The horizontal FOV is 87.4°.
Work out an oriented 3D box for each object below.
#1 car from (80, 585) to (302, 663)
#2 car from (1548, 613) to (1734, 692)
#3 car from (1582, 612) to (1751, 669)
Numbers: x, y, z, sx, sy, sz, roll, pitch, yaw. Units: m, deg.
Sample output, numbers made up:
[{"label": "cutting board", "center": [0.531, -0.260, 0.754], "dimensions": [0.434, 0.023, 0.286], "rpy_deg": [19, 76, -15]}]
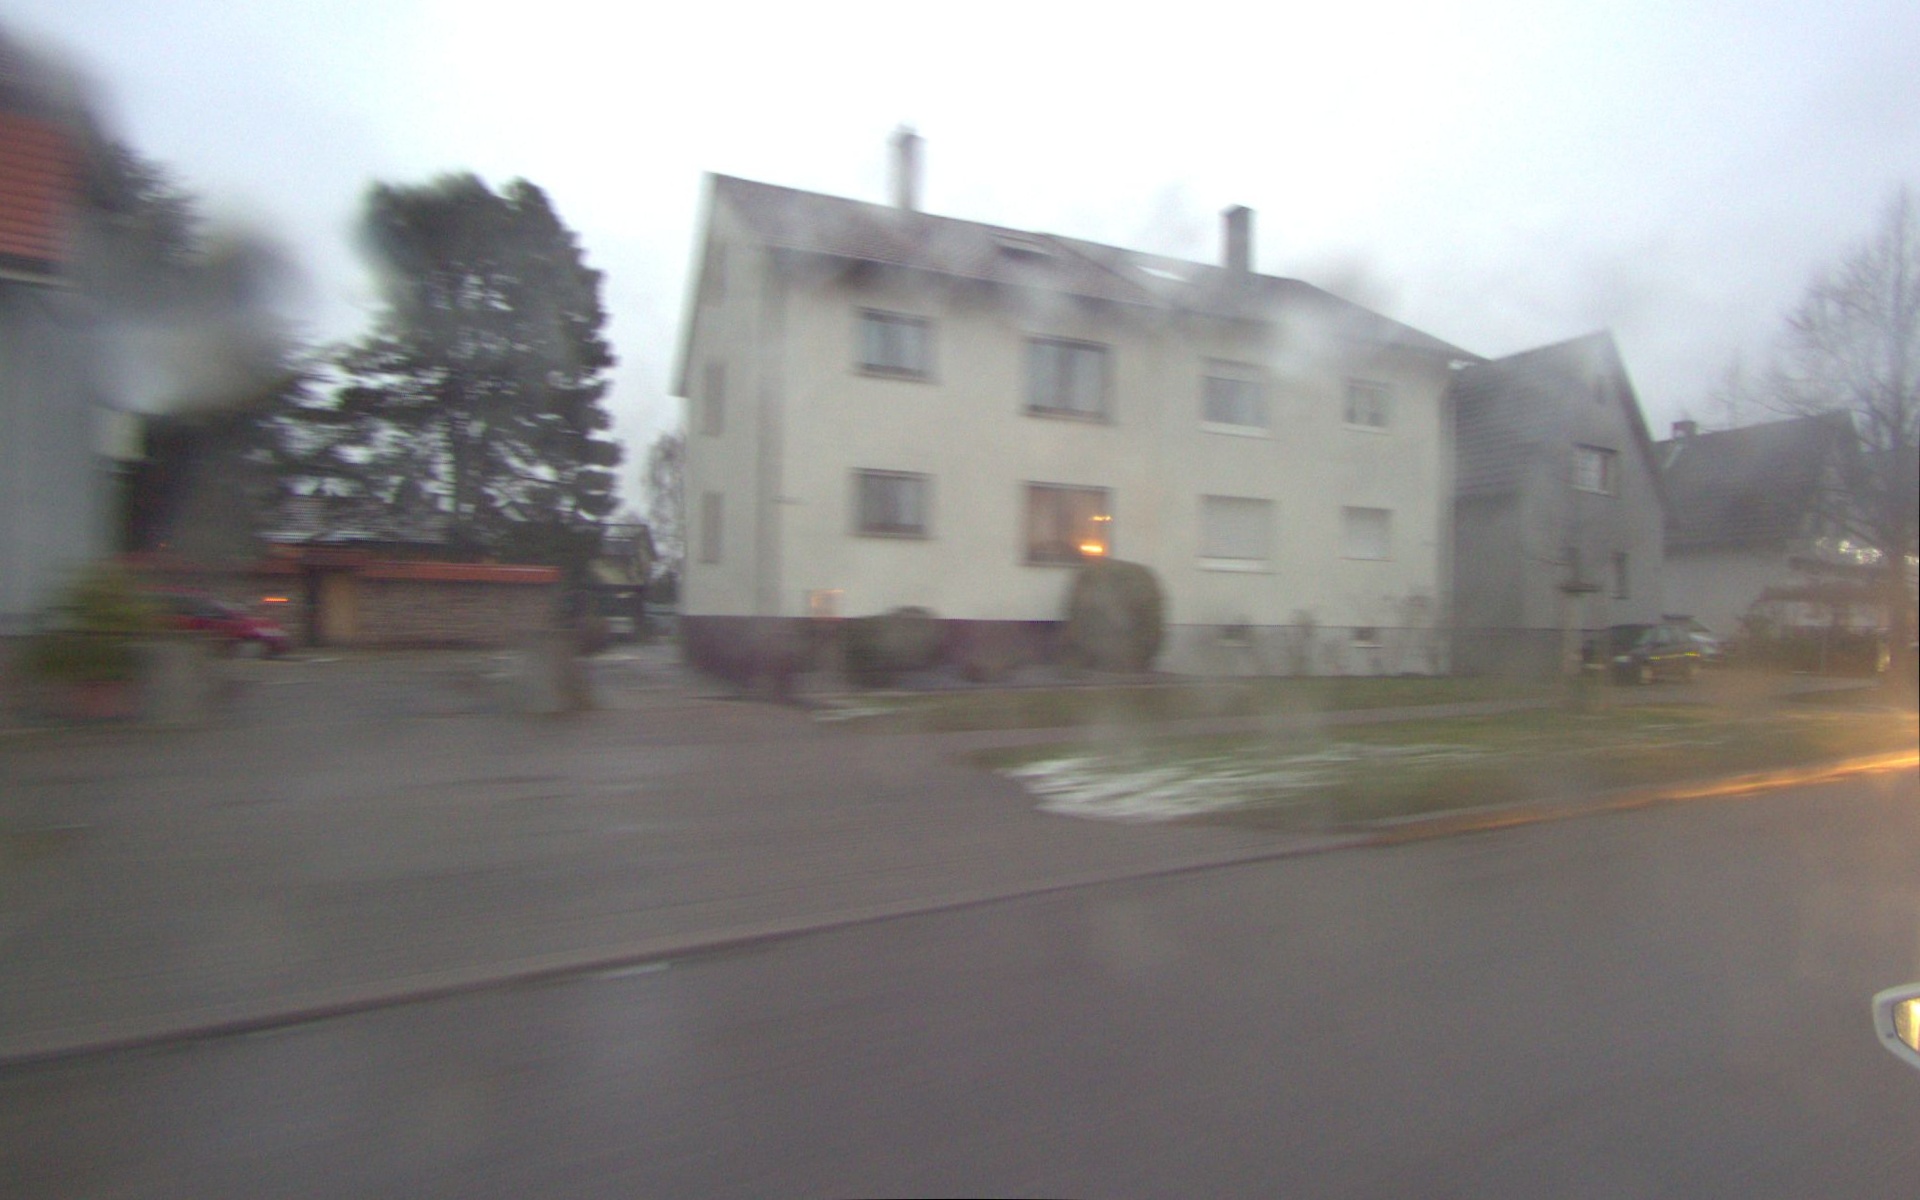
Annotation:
[{"label": "car", "center": [-16.793, 0.536, 22.188], "dimensions": [3.631, 1.595, 1.984], "rpy_deg": [1, -1, -31]}, {"label": "car", "center": [16.834, 1.261, 24.799], "dimensions": [4.512, 1.779, 1.985], "rpy_deg": [2, -1, -29]}, {"label": "car", "center": [24.443, 1.352, 34.967], "dimensions": [1.884, 1.824, 4.544], "rpy_deg": [1, -1, -22]}]
